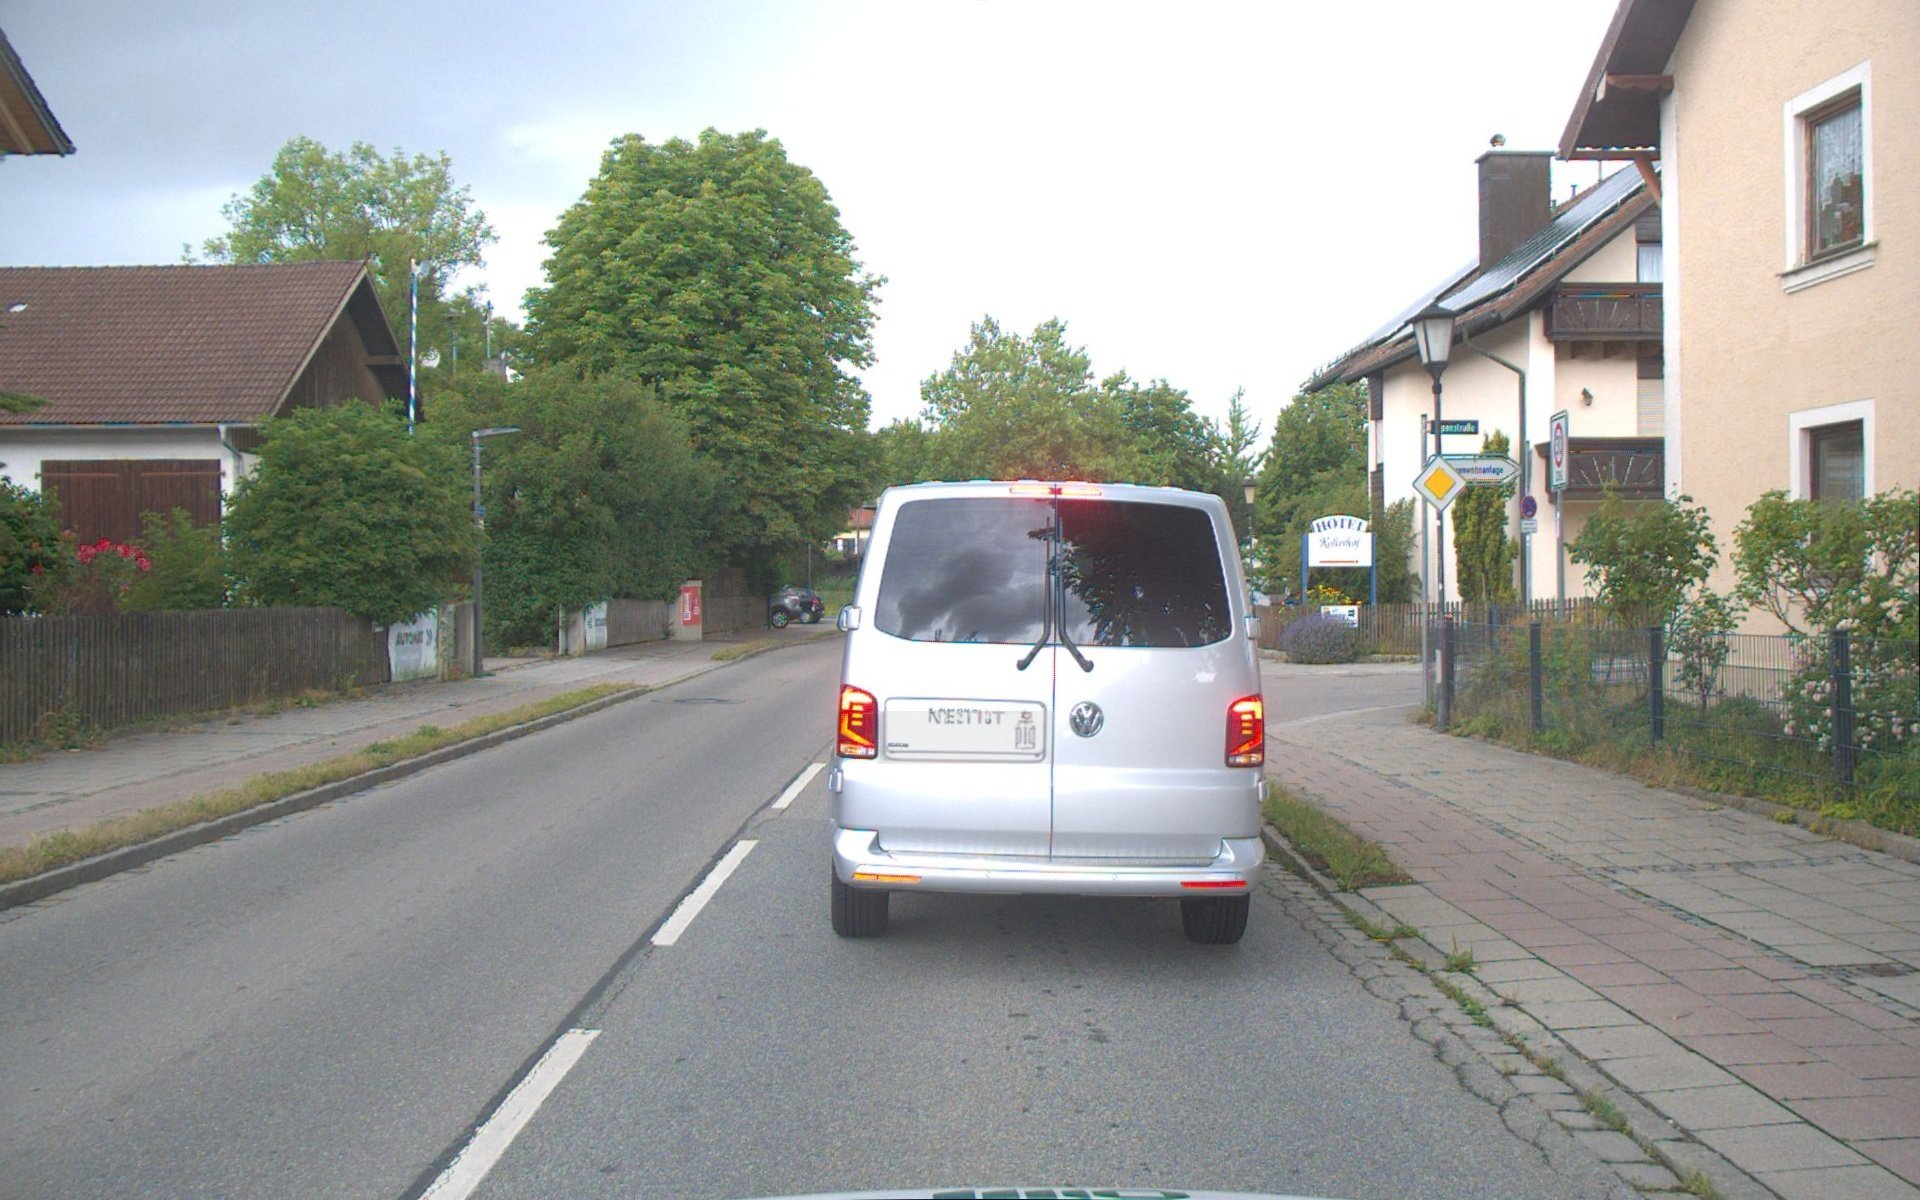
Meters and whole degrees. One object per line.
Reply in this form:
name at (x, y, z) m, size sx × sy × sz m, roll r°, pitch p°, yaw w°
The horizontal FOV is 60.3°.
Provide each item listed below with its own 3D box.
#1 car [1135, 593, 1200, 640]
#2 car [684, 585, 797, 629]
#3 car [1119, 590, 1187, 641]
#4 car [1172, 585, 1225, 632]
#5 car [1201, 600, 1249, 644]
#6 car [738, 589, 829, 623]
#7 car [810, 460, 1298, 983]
car at (7.234, 0.539, 57.318) m, size 1.841 × 1.562 × 3.924 m, roll 0°, pitch 0°, yaw 13°
car at (-7.819, 0.244, 58.783) m, size 3.913 × 1.512 × 1.996 m, roll 0°, pitch 0°, yaw -9°
car at (6.160, 0.471, 52.422) m, size 1.841 × 1.562 × 3.924 m, roll 0°, pitch 0°, yaw 11°
car at (9.565, 0.315, 66.020) m, size 1.841 × 1.779 × 4.084 m, roll -1°, pitch 0°, yaw 12°
car at (11.675, 0.954, 72.790) m, size 1.841 × 1.857 × 3.924 m, roll 0°, pitch 0°, yaw 13°
car at (-7.395, 0.252, 69.120) m, size 3.683 × 1.369 × 1.579 m, roll 0°, pitch 0°, yaw -11°
car at (0.359, 0.451, 8.236) m, size 1.843 × 1.974 × 3.920 m, roll 0°, pitch 0°, yaw 0°
